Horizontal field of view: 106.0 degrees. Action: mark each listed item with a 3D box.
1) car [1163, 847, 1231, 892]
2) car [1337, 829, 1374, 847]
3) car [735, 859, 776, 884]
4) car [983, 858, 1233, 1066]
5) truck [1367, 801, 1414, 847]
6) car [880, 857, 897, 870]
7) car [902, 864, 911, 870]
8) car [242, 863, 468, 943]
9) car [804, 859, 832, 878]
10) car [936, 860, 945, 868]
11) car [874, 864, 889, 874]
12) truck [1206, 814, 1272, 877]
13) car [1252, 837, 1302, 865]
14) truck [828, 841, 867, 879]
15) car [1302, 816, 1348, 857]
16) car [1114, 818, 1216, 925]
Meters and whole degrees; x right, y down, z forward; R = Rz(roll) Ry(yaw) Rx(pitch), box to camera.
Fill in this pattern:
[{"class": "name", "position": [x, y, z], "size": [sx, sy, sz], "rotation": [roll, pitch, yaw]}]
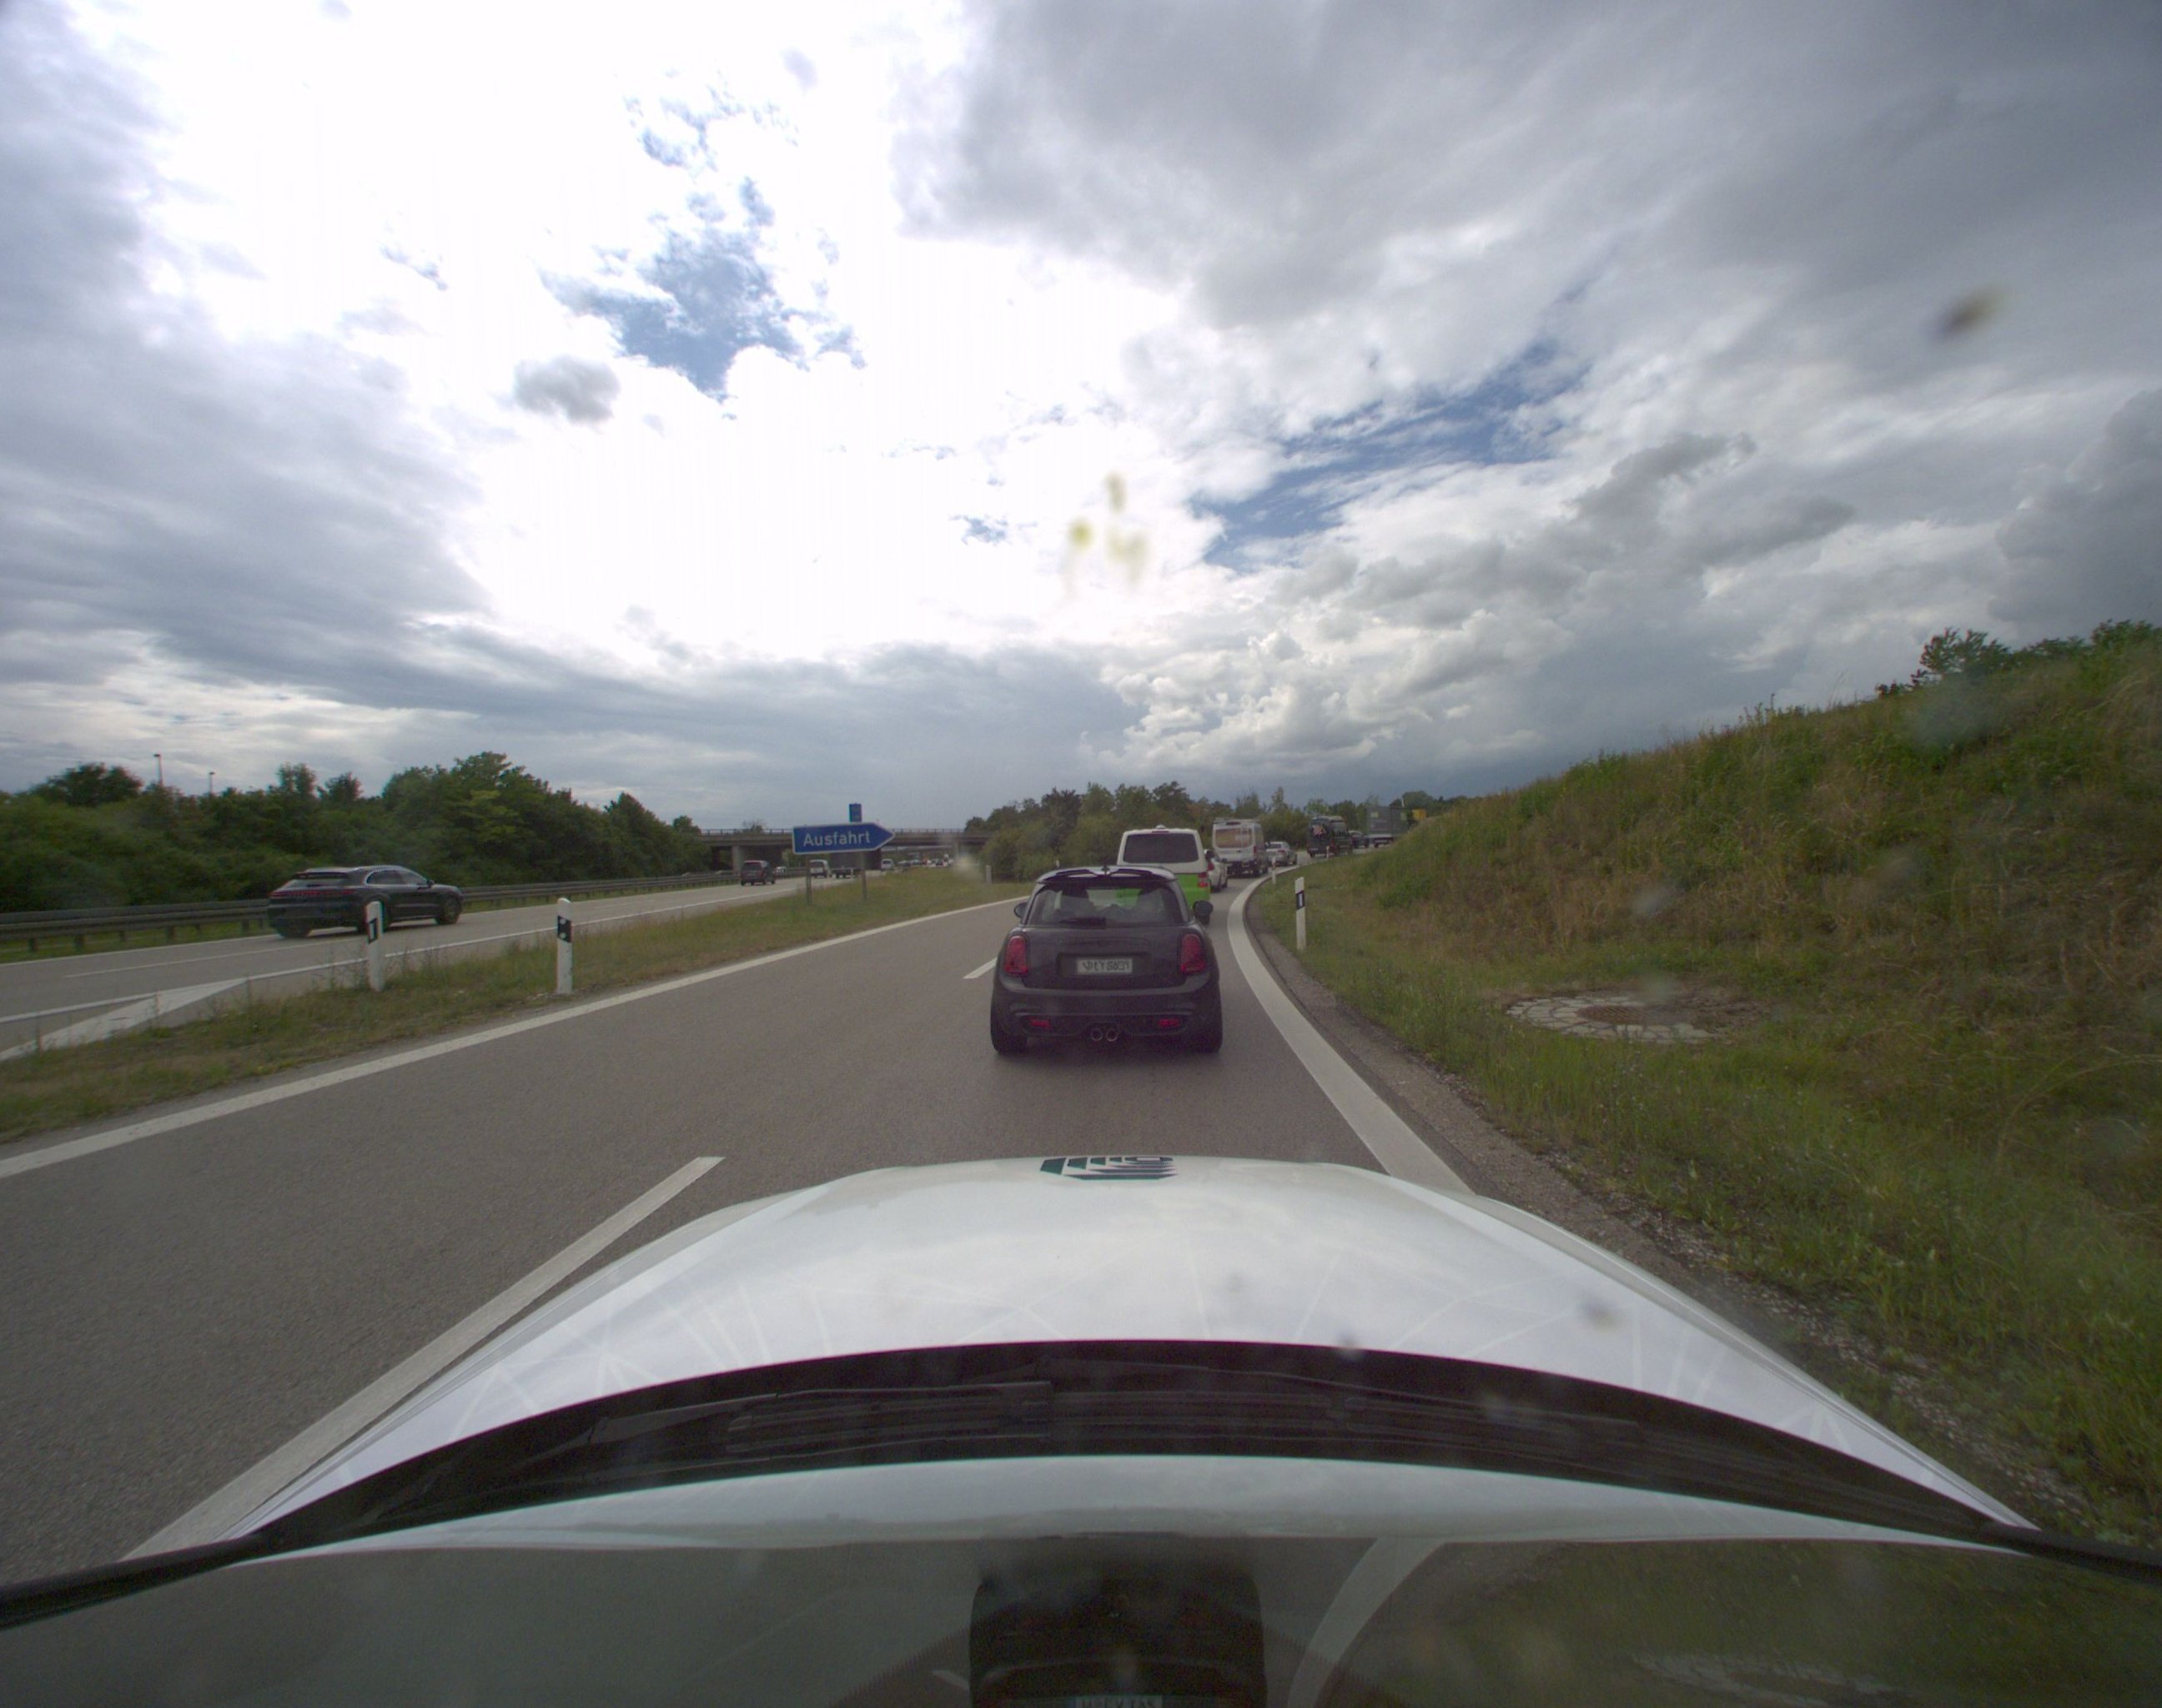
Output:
[{"class": "car", "position": [4.036, 0.490, 27.930], "size": [1.749, 1.399, 3.741], "rotation": [-2, 0, 16]}, {"class": "car", "position": [25.483, -1.466, 75.392], "size": [1.816, 1.566, 4.526], "rotation": [-2, 0, 38]}, {"class": "car", "position": [-24.535, 1.277, 61.521], "size": [1.844, 1.758, 4.323], "rotation": [-2, 0, -9]}, {"class": "car", "position": [0.242, 0.767, 7.571], "size": [1.721, 1.413, 3.726], "rotation": [-1, 0, 2]}, {"class": "truck", "position": [27.983, -2.633, 73.403], "size": [2.207, 3.907, 6.054], "rotation": [-1, -1, 38]}, {"class": "car", "position": [-28.915, 1.422, 122.556], "size": [1.875, 1.751, 4.475], "rotation": [-2, 0, -7]}, {"class": "car", "position": [-41.229, 3.025, 192.869], "size": [1.721, 1.424, 4.784], "rotation": [-2, 0, -8]}, {"class": "car", "position": [-18.599, 1.151, 21.252], "size": [1.993, 1.743, 4.815], "rotation": [-3, 0, -8]}, {"class": "car", "position": [-27.055, 1.490, 84.006], "size": [1.992, 1.810, 3.989], "rotation": [-2, 0, -8]}, {"class": "car", "position": [-35.048, 2.595, 203.049], "size": [1.993, 2.014, 3.986], "rotation": [0, -1, -10]}, {"class": "car", "position": [-36.383, 2.728, 148.387], "size": [1.992, 1.785, 5.397], "rotation": [-2, 0, -8]}, {"class": "truck", "position": [7.374, -0.398, 37.637], "size": [2.160, 2.658, 5.134], "rotation": [-2, 1, 19]}, {"class": "car", "position": [11.588, -0.176, 47.947], "size": [1.848, 1.510, 4.025], "rotation": [-2, 0, 29]}, {"class": "truck", "position": [-22.526, 0.612, 78.978], "size": [2.466, 3.371, 7.900], "rotation": [-3, -1, -8]}, {"class": "car", "position": [17.520, -1.240, 58.386], "size": [2.084, 2.796, 4.026], "rotation": [-1, 0, 33]}, {"class": "car", "position": [1.919, 0.330, 17.471], "size": [1.773, 2.013, 4.012], "rotation": [-1, 0, 11]}]
